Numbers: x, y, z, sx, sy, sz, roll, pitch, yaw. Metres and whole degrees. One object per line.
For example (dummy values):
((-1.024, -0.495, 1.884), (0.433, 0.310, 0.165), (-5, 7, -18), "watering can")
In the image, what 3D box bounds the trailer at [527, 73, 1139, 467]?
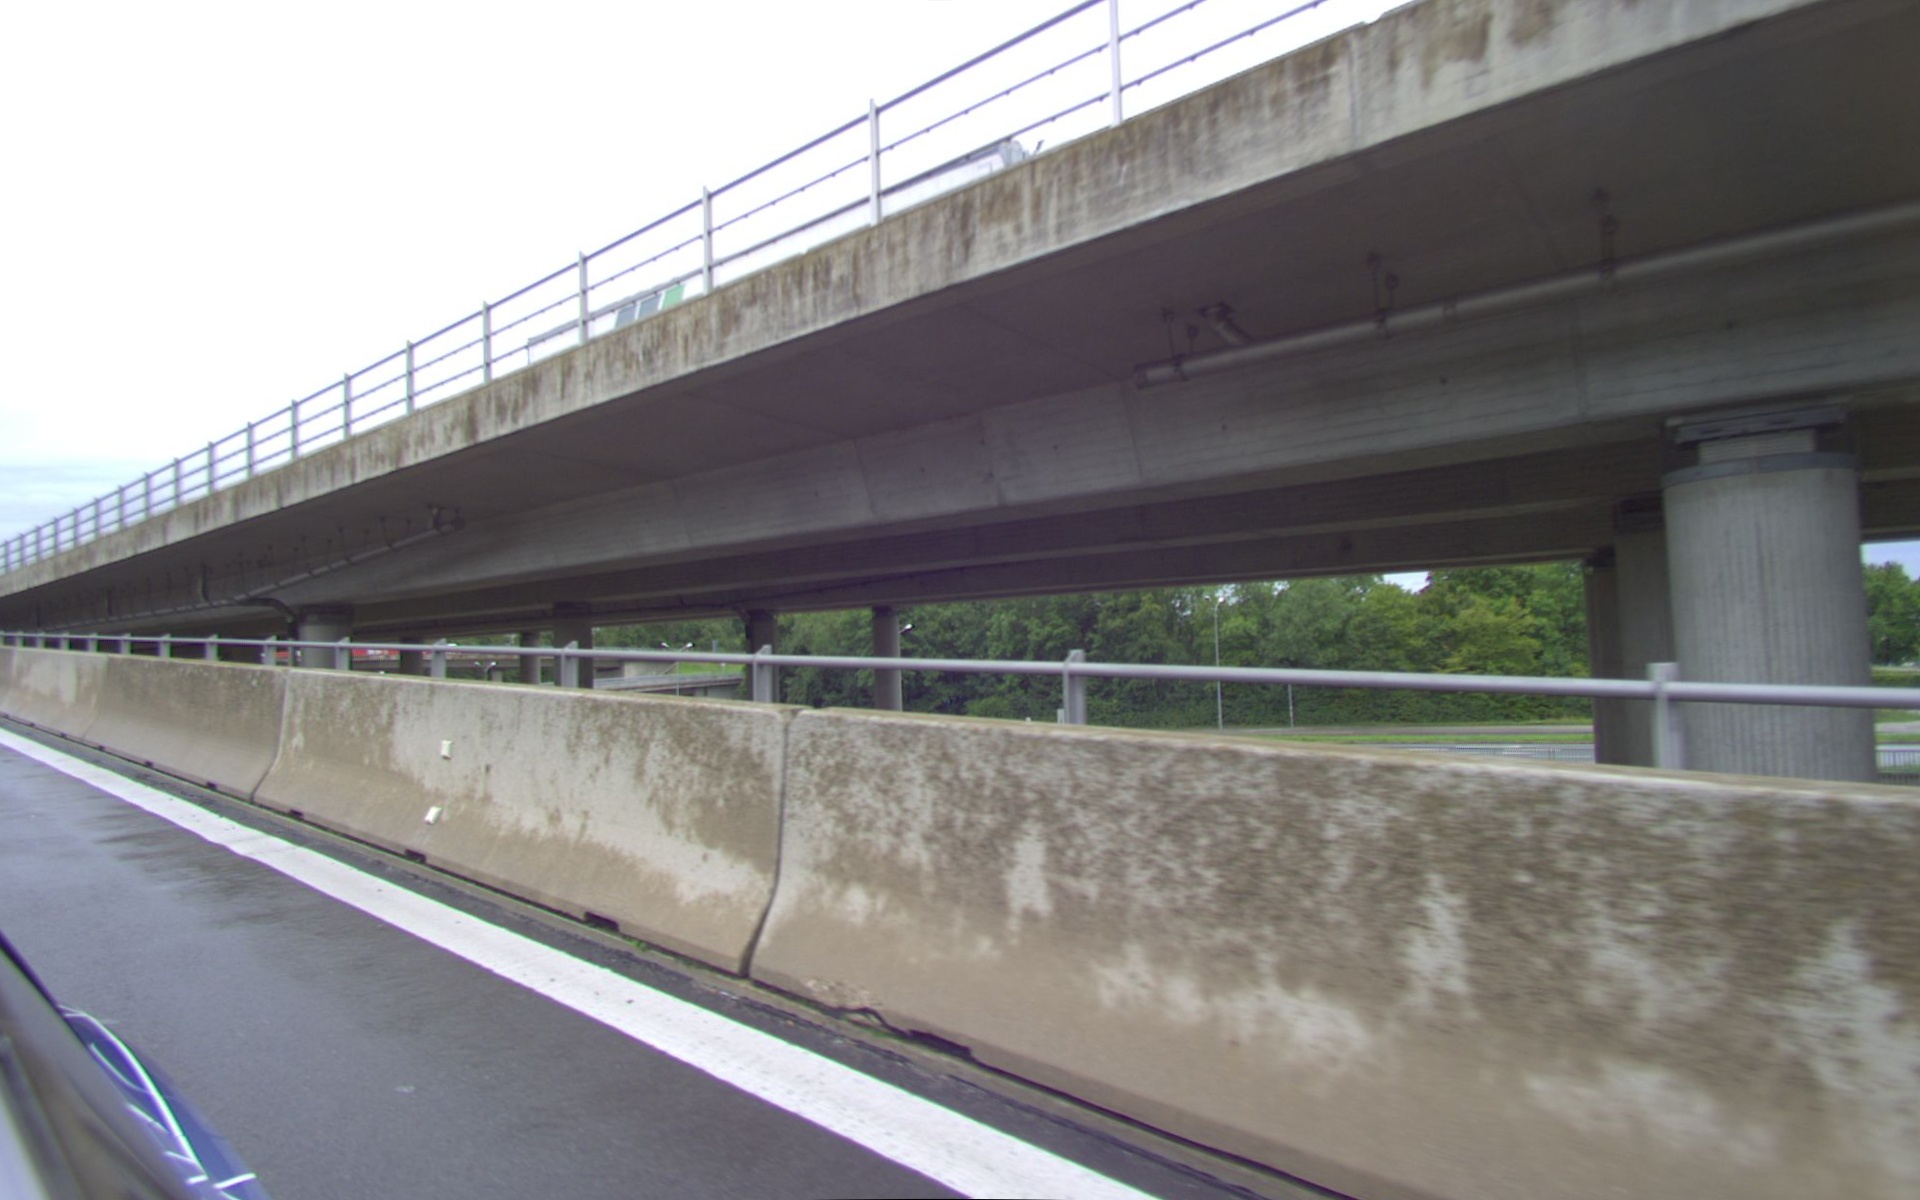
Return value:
((-3.489, -5.381, 19.658), (14.041, 3.323, 2.632), (-4, -3, 38), "trailer")

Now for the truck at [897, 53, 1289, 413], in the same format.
((1.900, -5.132, 15.412), (5.187, 3.270, 2.564), (-5, -3, 38), "truck")
